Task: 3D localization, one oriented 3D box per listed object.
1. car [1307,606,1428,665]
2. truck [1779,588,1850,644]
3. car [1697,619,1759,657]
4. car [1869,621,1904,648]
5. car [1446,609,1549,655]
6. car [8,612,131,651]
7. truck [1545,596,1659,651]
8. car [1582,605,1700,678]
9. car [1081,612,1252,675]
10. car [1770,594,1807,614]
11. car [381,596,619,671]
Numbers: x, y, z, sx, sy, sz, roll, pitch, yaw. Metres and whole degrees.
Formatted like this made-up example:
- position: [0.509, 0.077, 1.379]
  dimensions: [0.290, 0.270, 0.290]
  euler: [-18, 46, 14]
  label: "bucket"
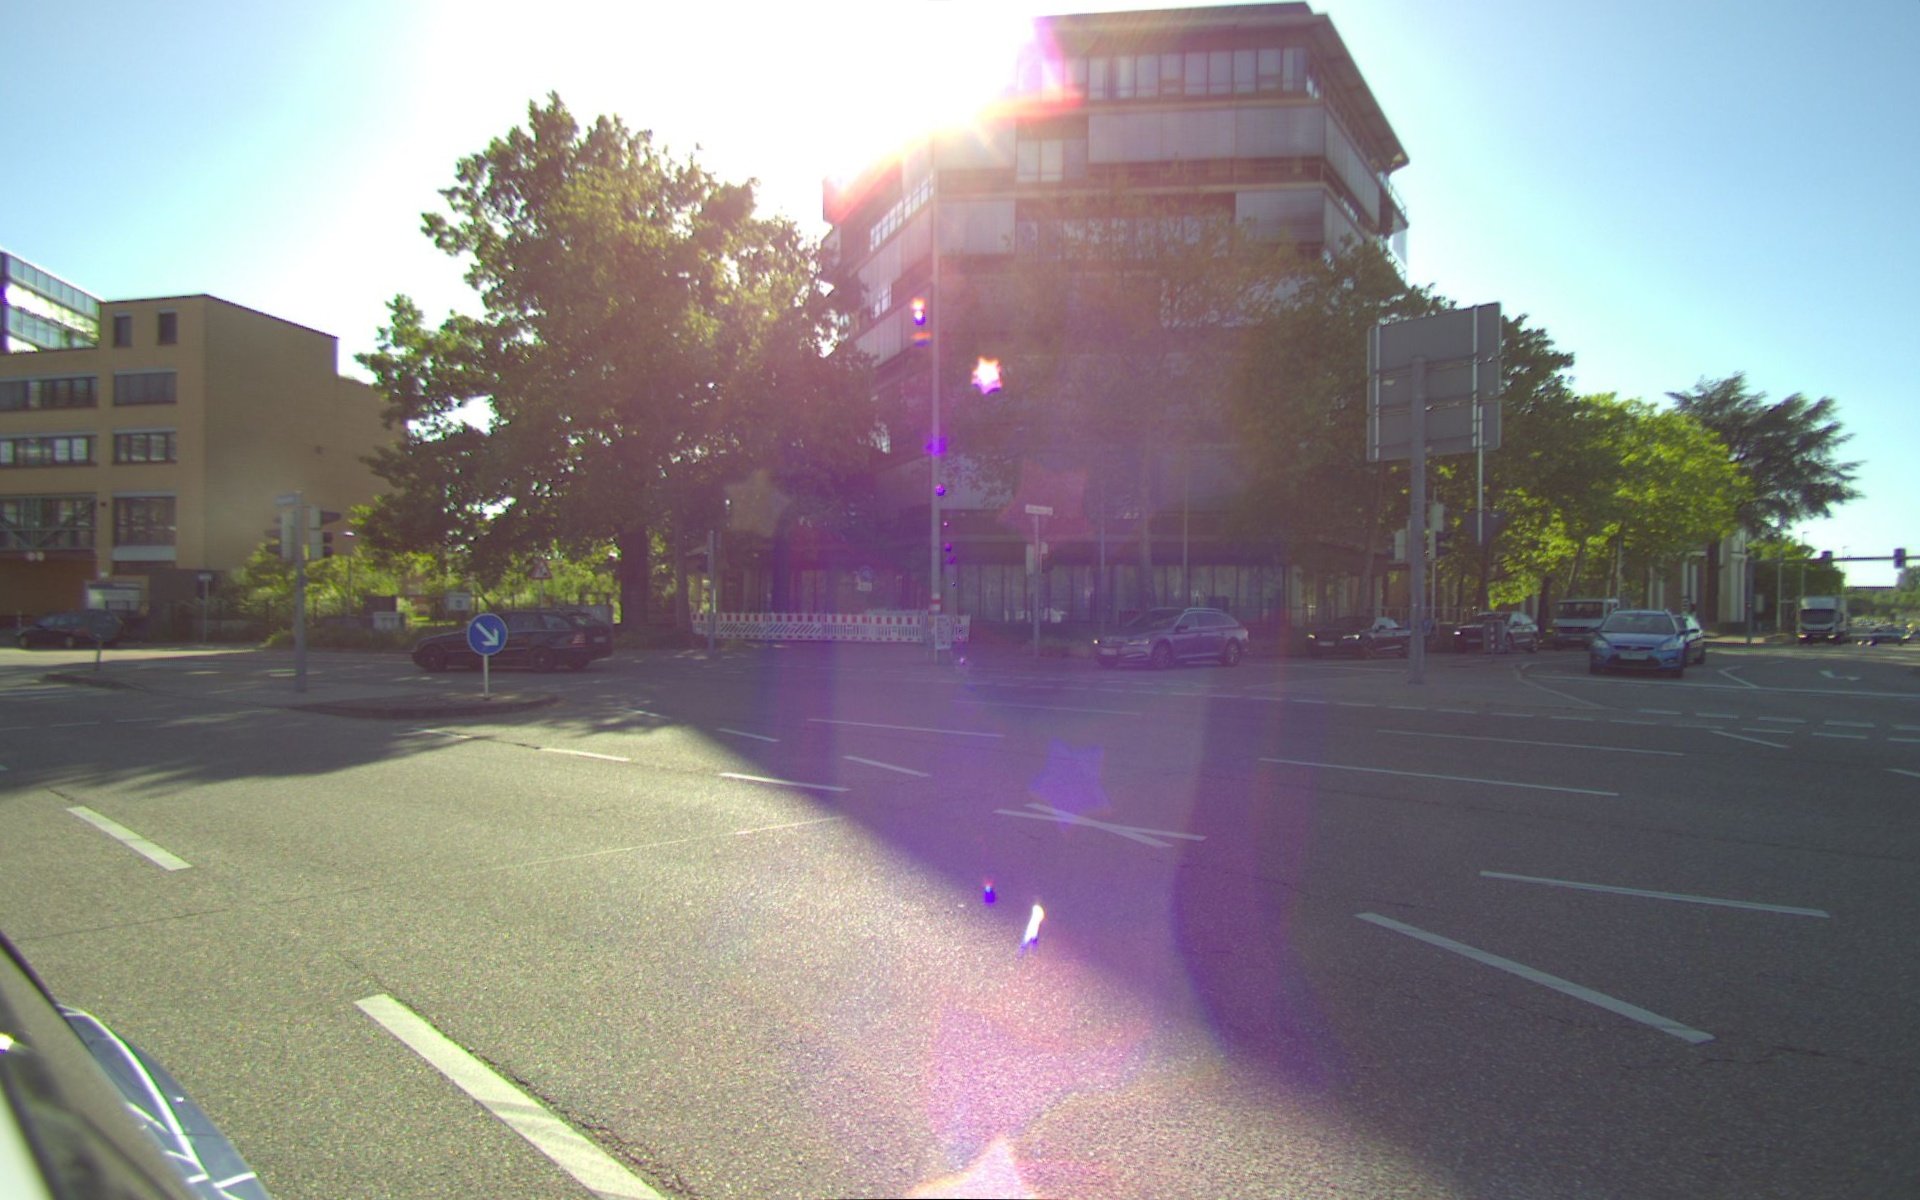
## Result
- position: [12.768, 1.046, 31.617]
  dimensions: [4.130, 1.713, 1.818]
  euler: [0, -1, -40]
  label: "car"
- position: [64.186, 1.118, 75.946]
  dimensions: [3.852, 3.825, 9.215]
  euler: [-1, 0, 41]
  label: "truck"
- position: [29.629, 1.433, 38.981]
  dimensions: [1.783, 1.346, 4.030]
  euler: [-1, -1, 39]
  label: "car"
- position: [65.997, 2.434, 72.066]
  dimensions: [1.741, 1.696, 3.994]
  euler: [2, 2, 43]
  label: "car"
- position: [20.652, 1.175, 38.836]
  dimensions: [4.437, 1.657, 1.884]
  euler: [0, -1, -38]
  label: "car"
- position: [-36.504, 1.302, 41.501]
  dimensions: [4.339, 1.520, 1.651]
  euler: [-1, -3, 16]
  label: "car"
- position: [29.757, 1.035, 46.776]
  dimensions: [7.394, 2.378, 2.168]
  euler: [0, -1, -38]
  label: "truck"
- position: [16.138, 0.902, 23.877]
  dimensions: [1.949, 1.552, 4.400]
  euler: [-1, -1, 39]
  label: "car"
- position: [5.162, 1.006, 24.969]
  dimensions: [4.440, 1.368, 1.882]
  euler: [1, 0, -43]
  label: "car"
- position: [71.267, 0.369, 87.082]
  dimensions: [1.808, 1.713, 4.153]
  euler: [-1, 0, 30]
  label: "car"
- position: [-10.559, 0.747, 23.393]
  dimensions: [4.729, 1.634, 1.947]
  euler: [0, -1, 8]
  label: "car"
